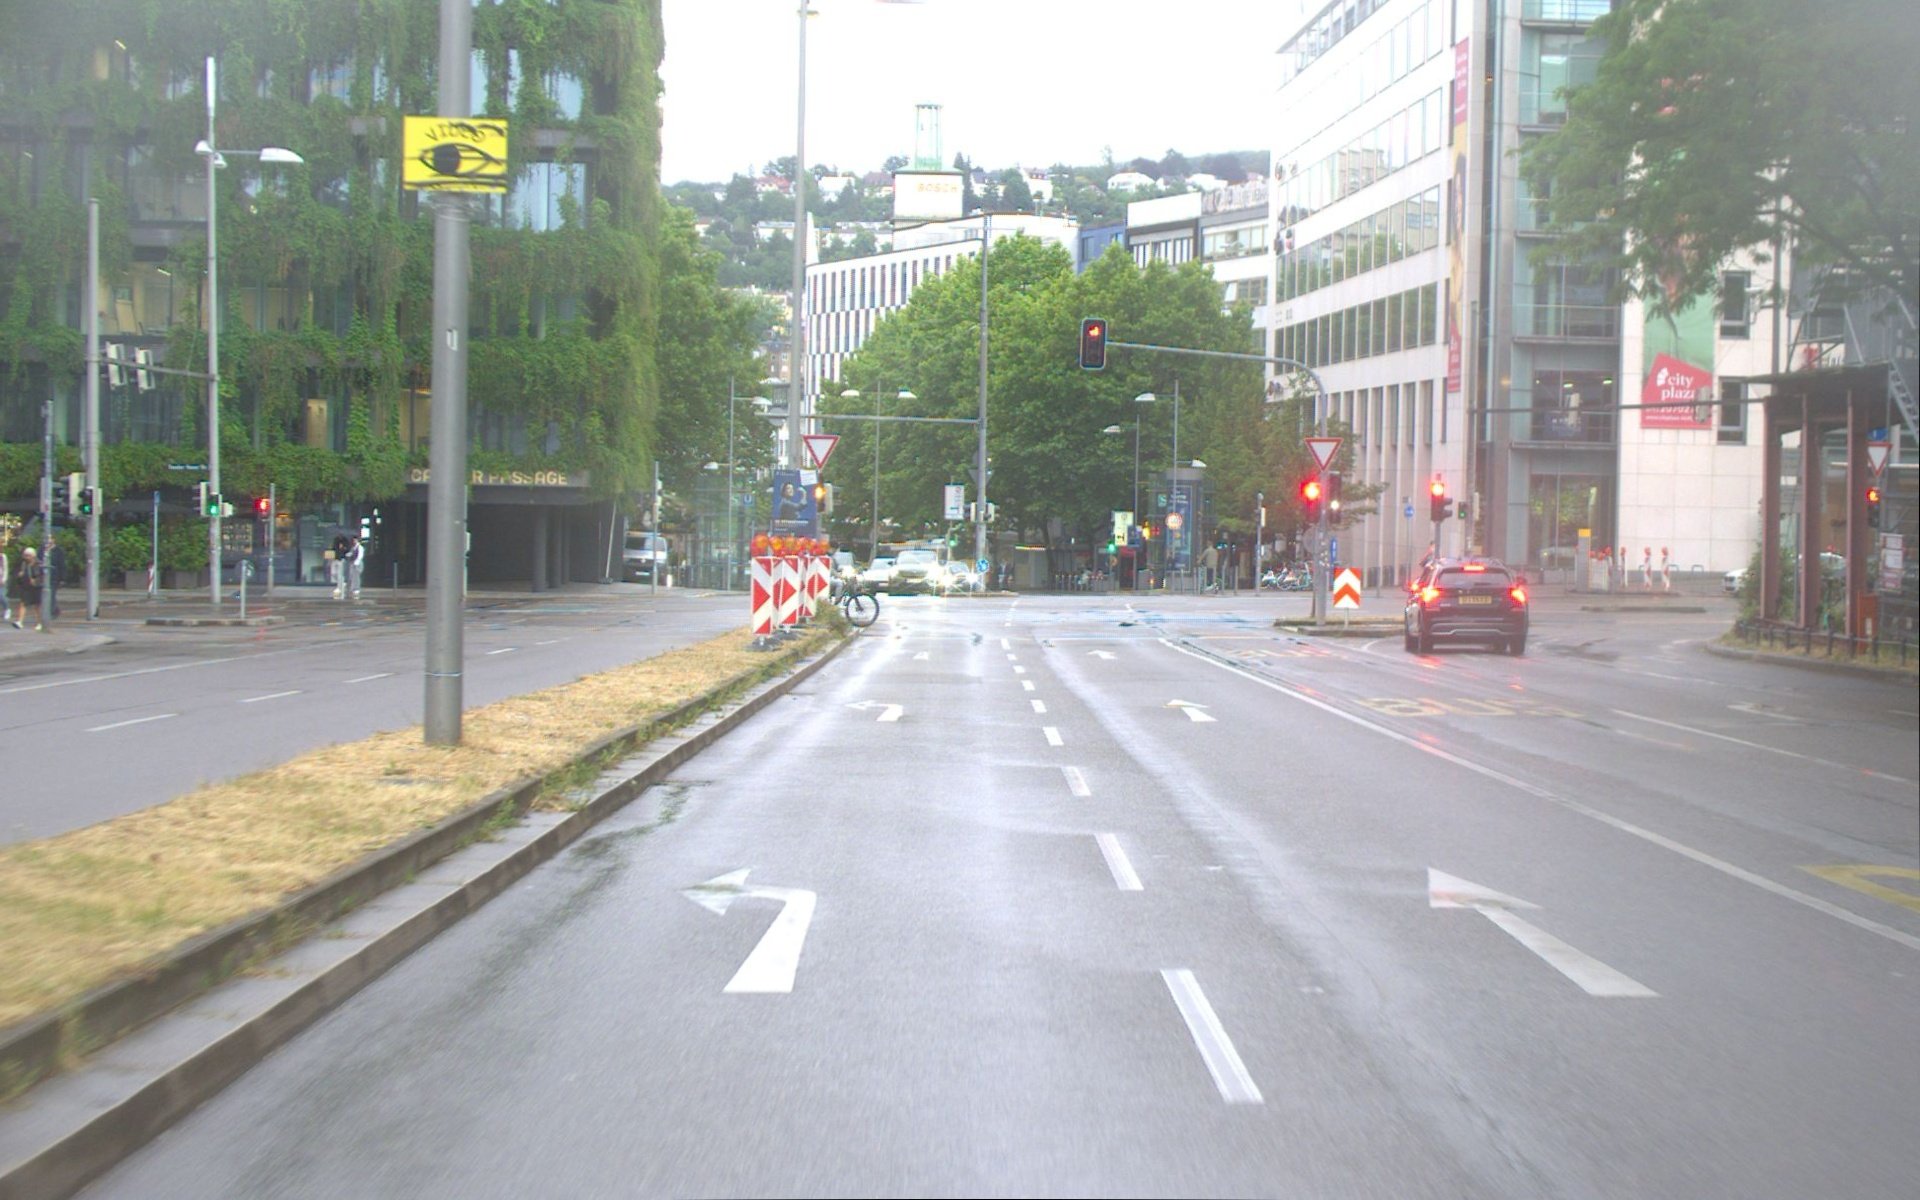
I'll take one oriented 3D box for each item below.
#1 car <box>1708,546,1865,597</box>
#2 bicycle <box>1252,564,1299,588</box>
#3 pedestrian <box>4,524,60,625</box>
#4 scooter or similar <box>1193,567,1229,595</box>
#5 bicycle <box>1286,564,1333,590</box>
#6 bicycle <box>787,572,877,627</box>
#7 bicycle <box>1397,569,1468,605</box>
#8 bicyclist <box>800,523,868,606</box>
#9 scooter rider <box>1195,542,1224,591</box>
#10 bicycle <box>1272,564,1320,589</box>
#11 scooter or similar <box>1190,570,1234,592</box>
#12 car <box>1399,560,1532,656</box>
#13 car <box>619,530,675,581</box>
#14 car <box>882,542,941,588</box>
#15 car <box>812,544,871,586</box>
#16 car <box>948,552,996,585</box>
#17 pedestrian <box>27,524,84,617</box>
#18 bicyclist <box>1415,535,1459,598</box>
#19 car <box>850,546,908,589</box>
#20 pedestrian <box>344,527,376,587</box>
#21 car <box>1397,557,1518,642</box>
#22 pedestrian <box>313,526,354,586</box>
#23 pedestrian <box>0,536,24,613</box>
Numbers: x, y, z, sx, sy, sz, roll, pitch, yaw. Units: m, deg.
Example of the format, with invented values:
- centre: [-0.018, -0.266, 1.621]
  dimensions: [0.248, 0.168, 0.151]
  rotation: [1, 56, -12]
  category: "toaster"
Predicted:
- centre: [26.454, -0.926, 110.131]
  dimensions: [4.449, 1.592, 2.001]
  rotation: [0, 1, -14]
  category: "car"
- centre: [12.273, -0.932, 133.709]
  dimensions: [1.795, 0.931, 0.475]
  rotation: [0, 1, 4]
  category: "bicycle"
- centre: [-17.825, -0.489, 66.053]
  dimensions: [0.805, 1.879, 0.866]
  rotation: [-4, 1, -6]
  category: "pedestrian"
- centre: [9.038, -0.681, 123.884]
  dimensions: [0.556, 1.003, 1.824]
  rotation: [0, 1, -21]
  category: "scooter or similar"
- centre: [12.954, -0.860, 127.521]
  dimensions: [1.799, 0.931, 0.474]
  rotation: [1, 1, 42]
  category: "bicycle"
- centre: [-2.637, -0.025, 71.254]
  dimensions: [0.847, 1.099, 2.149]
  rotation: [1, 1, 30]
  category: "bicycle"
- centre: [14.947, -0.426, 108.820]
  dimensions: [0.791, 1.113, 2.255]
  rotation: [0, 1, -40]
  category: "bicycle"
- centre: [-2.606, -0.748, 71.260]
  dimensions: [0.847, 1.698, 1.297]
  rotation: [1, 1, 30]
  category: "bicyclist"
- centre: [8.989, -1.200, 123.986]
  dimensions: [0.762, 1.768, 0.796]
  rotation: [0, 1, -21]
  category: "scooter rider"
- centre: [12.895, -0.910, 131.851]
  dimensions: [1.795, 0.931, 0.475]
  rotation: [0, 1, 4]
  category: "bicycle"
- centre: [10.340, -0.771, 140.914]
  dimensions: [1.745, 0.875, 0.489]
  rotation: [0, 1, -18]
  category: "scooter or similar"
- centre: [8.496, 0.109, 58.045]
  dimensions: [1.778, 1.534, 4.146]
  rotation: [1, 1, 3]
  category: "car"
- centre: [-11.792, -1.683, 129.657]
  dimensions: [1.993, 1.888, 4.466]
  rotation: [0, 1, -4]
  category: "car"
- centre: [-1.656, -1.241, 119.683]
  dimensions: [1.993, 1.545, 4.556]
  rotation: [0, 1, 0]
  category: "car"
- centre: [-4.342, -1.307, 125.590]
  dimensions: [1.856, 1.443, 4.622]
  rotation: [0, 2, -6]
  category: "car"
- centre: [0.543, -1.464, 159.314]
  dimensions: [1.993, 1.439, 4.556]
  rotation: [0, 1, -3]
  category: "car"
- centre: [-18.787, -0.618, 71.415]
  dimensions: [0.895, 1.879, 0.787]
  rotation: [-3, 1, -4]
  category: "pedestrian"
- centre: [15.082, -1.070, 108.662]
  dimensions: [0.791, 1.968, 1.114]
  rotation: [0, 1, -40]
  category: "bicyclist"
- centre: [-3.502, -1.424, 148.185]
  dimensions: [2.175, 1.817, 4.645]
  rotation: [0, 1, -5]
  category: "car"
- centre: [-17.729, -1.264, 101.565]
  dimensions: [0.741, 1.752, 0.976]
  rotation: [0, 1, -23]
  category: "pedestrian"
- centre: [9.477, -0.040, 65.215]
  dimensions: [1.704, 1.524, 4.423]
  rotation: [1, 1, 16]
  category: "car"
- centre: [-18.465, -1.293, 101.273]
  dimensions: [0.935, 1.752, 1.172]
  rotation: [0, 1, -23]
  category: "pedestrian"
- centre: [-20.067, -0.511, 71.472]
  dimensions: [0.831, 1.580, 0.923]
  rotation: [-3, 1, 4]
  category: "pedestrian"
